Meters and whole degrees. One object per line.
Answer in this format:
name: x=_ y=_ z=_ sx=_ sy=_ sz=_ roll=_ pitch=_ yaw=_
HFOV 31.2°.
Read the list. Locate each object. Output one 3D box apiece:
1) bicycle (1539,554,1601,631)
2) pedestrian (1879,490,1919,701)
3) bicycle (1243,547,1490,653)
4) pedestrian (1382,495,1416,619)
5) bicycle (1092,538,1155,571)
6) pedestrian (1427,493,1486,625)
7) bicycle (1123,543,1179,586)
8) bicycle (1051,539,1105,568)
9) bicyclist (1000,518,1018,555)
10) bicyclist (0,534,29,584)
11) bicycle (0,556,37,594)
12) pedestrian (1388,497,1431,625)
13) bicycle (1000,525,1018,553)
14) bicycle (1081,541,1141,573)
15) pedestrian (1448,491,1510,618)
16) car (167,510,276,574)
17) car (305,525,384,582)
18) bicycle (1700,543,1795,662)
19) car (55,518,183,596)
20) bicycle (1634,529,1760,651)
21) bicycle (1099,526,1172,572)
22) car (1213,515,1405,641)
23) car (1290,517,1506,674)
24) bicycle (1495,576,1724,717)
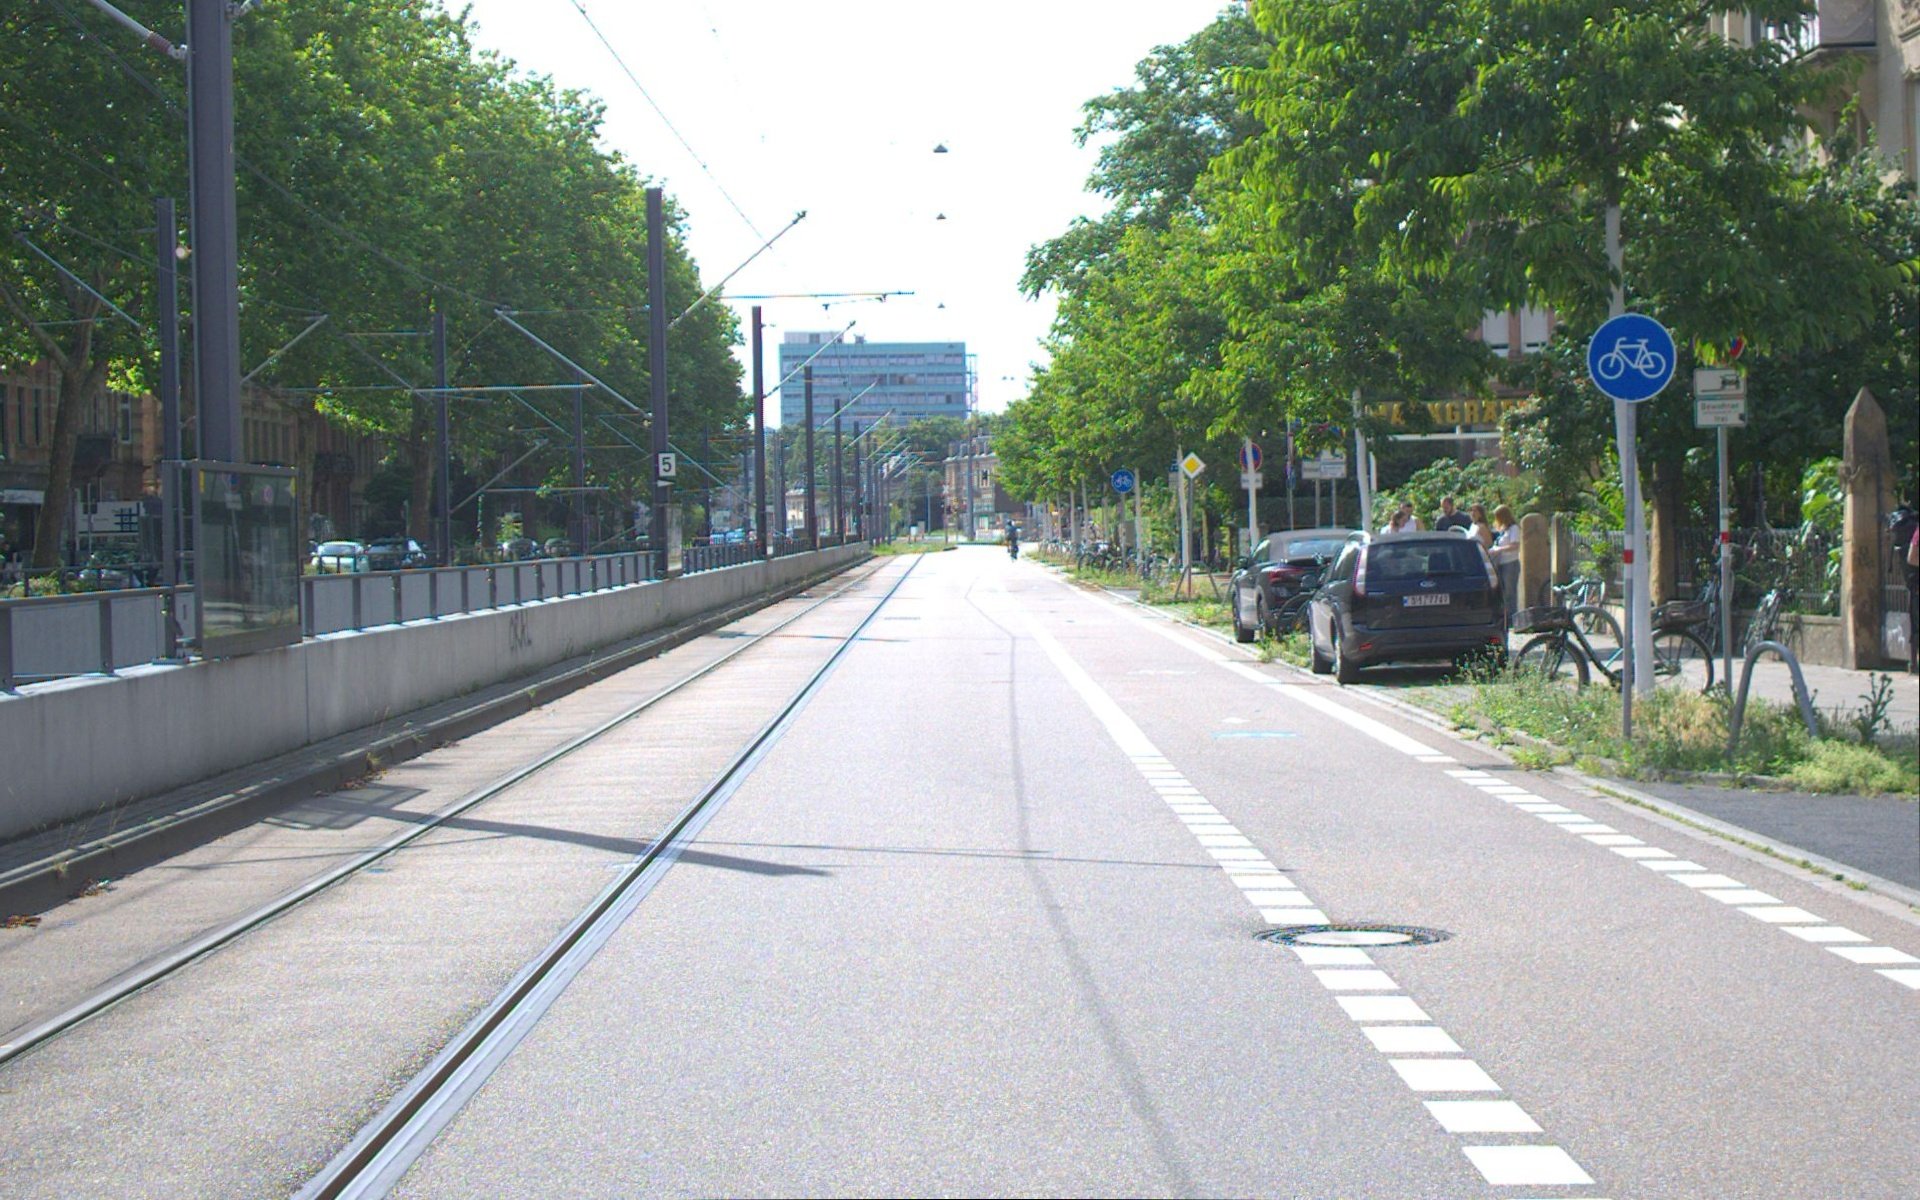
bicycle: x=7.920 y=-0.109 z=44.657 sx=0.427 sy=0.936 sz=1.807 roll=-4 pitch=1 yaw=0
pedestrian: x=7.637 y=-0.047 z=26.829 sx=0.723 sy=1.623 sz=0.725 roll=-1 pitch=1 yaw=0
bicycle: x=5.058 y=-0.010 z=42.789 sx=2.945 sy=1.242 sz=0.793 roll=-1 pitch=1 yaw=-12
pedestrian: x=6.134 y=-0.607 z=48.013 sx=0.318 sy=1.701 sz=0.460 roll=-3 pitch=1 yaw=14
bicycle: x=5.004 y=-1.399 z=105.066 sx=1.816 sy=0.899 sz=0.652 roll=-3 pitch=2 yaw=-3
pedestrian: x=6.966 y=-0.578 z=48.270 sx=0.669 sy=1.798 sz=0.319 roll=-4 pitch=1 yaw=-1
bicycle: x=4.840 y=-0.903 z=87.255 sx=0.649 sy=1.035 sz=1.822 roll=-4 pitch=2 yaw=-21
bicycle: x=4.162 y=-1.636 z=121.252 sx=1.816 sy=0.899 sz=0.604 roll=-3 pitch=2 yaw=-3
bicyclist: x=2.264 y=-2.940 z=158.721 sx=0.770 sy=1.724 sz=1.026 roll=-1 pitch=1 yaw=1
bicyclist: x=-23.302 y=-1.013 z=84.693 sx=0.535 sy=1.227 sz=0.724 roll=-1 pitch=1 yaw=0
bicycle: x=-23.302 y=-0.624 z=84.650 sx=0.535 sy=0.910 sz=2.149 roll=-1 pitch=1 yaw=0
pedestrian: x=6.389 y=-0.558 z=48.859 sx=0.459 sy=1.798 sz=0.319 roll=-4 pitch=1 yaw=-1
bicycle: x=2.272 y=-2.816 z=158.698 sx=0.799 sy=1.232 sz=2.778 roll=-1 pitch=1 yaw=1
bicycle: x=4.822 y=-1.386 z=110.004 sx=1.816 sy=0.899 sz=0.604 roll=-3 pitch=2 yaw=-3
pedestrian: x=7.028 y=-0.617 z=46.581 sx=0.528 sy=1.670 sz=0.575 roll=-4 pitch=1 yaw=-18
car: x=-20.757 y=-1.659 z=96.810 sx=1.994 sy=1.631 sz=4.000 roll=-3 pitch=2 yaw=2
car: x=-20.569 y=-1.574 z=115.006 sx=1.839 sy=1.722 sz=4.000 roll=-4 pitch=2 yaw=0
bicycle: x=7.925 y=0.007 z=34.669 sx=0.427 sy=1.136 sz=2.023 roll=-4 pitch=1 yaw=0
car: x=-20.033 y=-1.047 z=82.048 sx=1.718 sy=1.685 sz=3.729 roll=-3 pitch=2 yaw=6
bicycle: x=8.016 y=-0.135 z=37.523 sx=0.658 sy=1.244 sz=2.943 roll=-4 pitch=1 yaw=0
bicycle: x=4.718 y=-1.369 z=92.422 sx=1.815 sy=1.141 sz=0.652 roll=-4 pitch=2 yaw=-11
car: x=4.638 y=-0.331 z=46.305 sx=1.798 sy=1.521 sz=4.490 roll=-3 pitch=2 yaw=-4
car: x=4.549 y=-0.101 z=36.288 sx=1.686 sy=1.497 sz=4.708 roll=-1 pitch=2 yaw=1
bicycle: x=5.136 y=0.364 z=27.206 sx=1.705 sy=1.065 sz=0.471 roll=-1 pitch=1 yaw=-6
